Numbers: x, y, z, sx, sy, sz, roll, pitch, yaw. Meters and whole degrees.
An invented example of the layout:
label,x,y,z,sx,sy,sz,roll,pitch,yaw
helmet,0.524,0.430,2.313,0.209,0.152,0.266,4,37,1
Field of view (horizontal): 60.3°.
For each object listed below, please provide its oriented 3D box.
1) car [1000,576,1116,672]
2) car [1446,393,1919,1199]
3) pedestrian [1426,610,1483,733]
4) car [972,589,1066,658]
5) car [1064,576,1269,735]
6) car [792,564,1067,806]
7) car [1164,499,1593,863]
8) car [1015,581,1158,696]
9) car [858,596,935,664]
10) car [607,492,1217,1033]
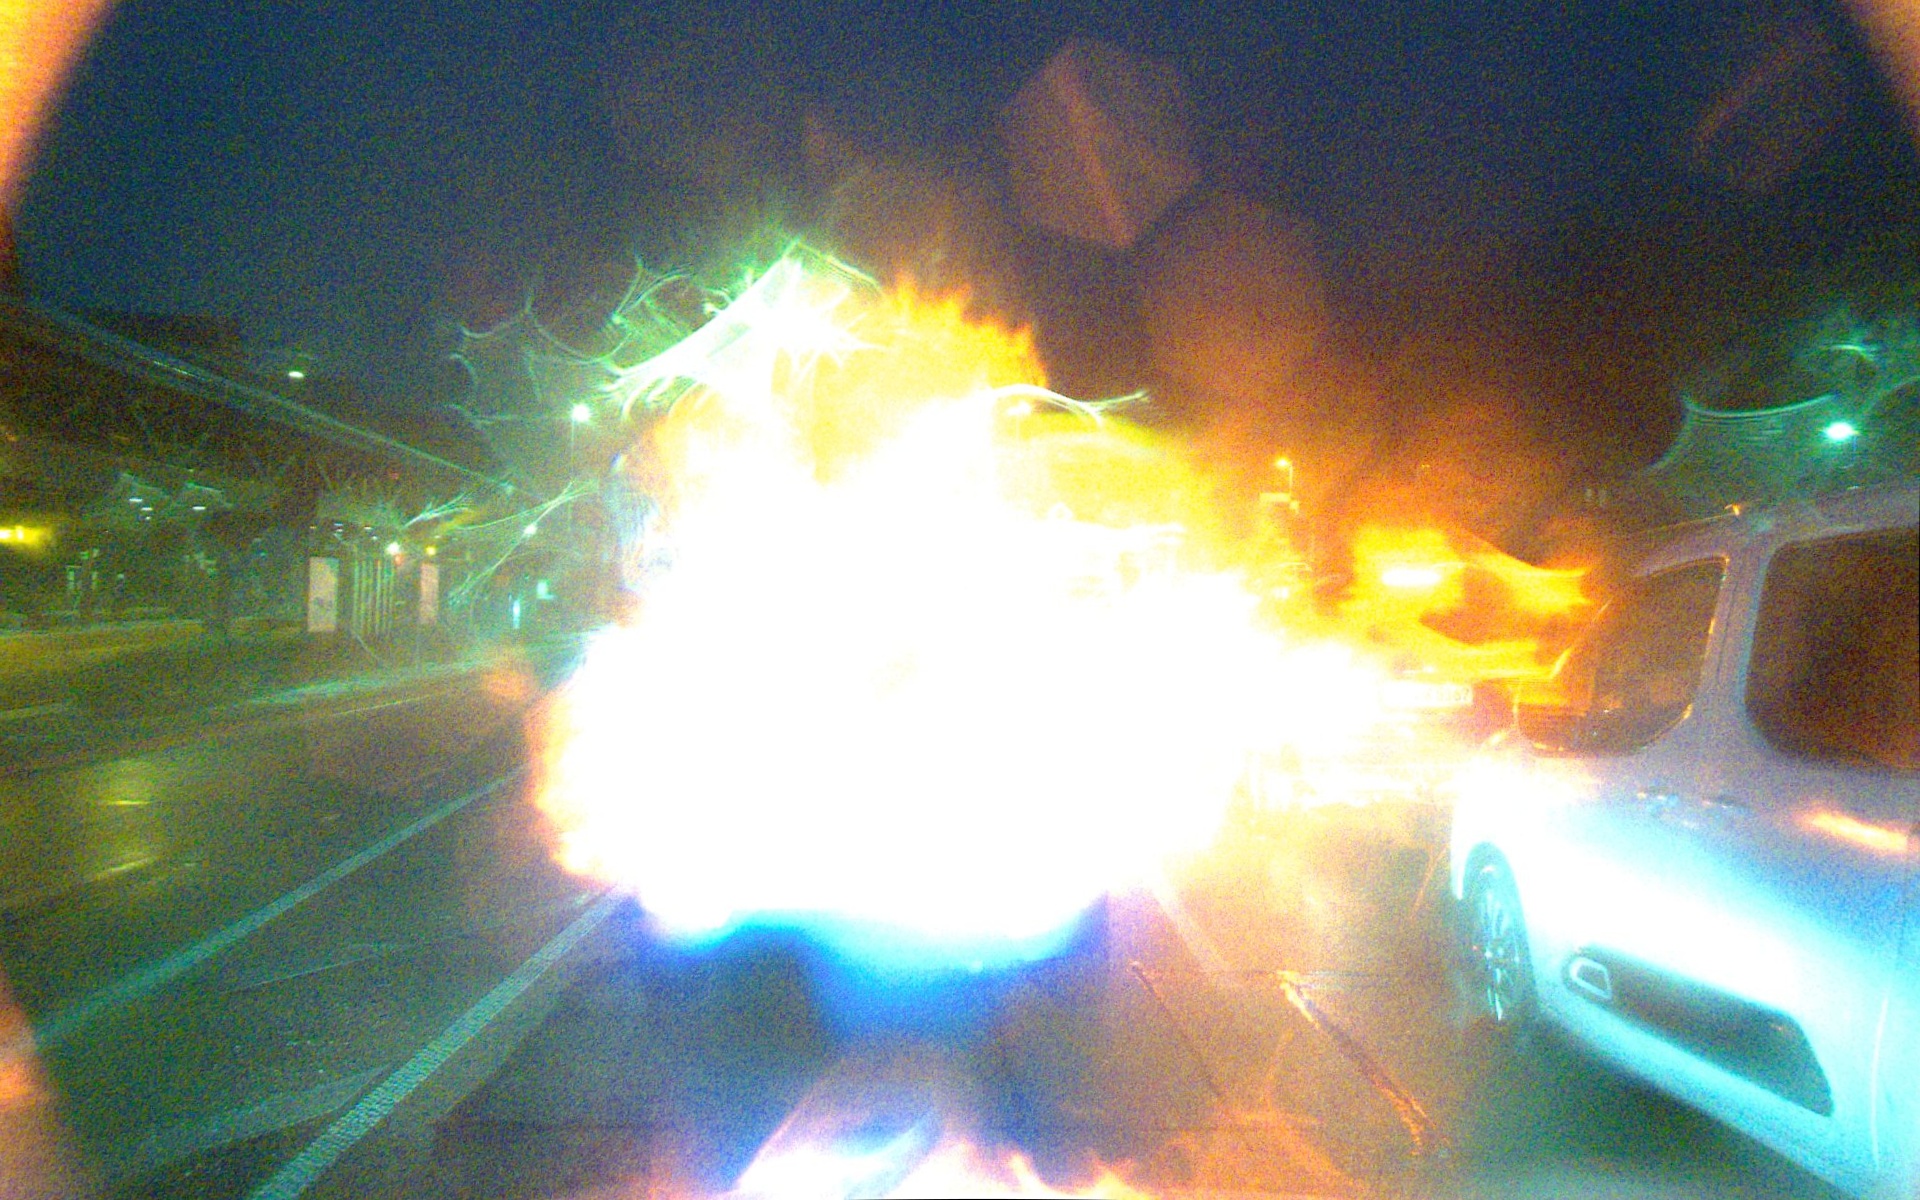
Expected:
label,x,y,z,sx,sy,sz,roll,pitch,yaw
car,1.924,0.465,33.536,1.953,1.804,3.998,1,0,-2
car,2.773,0.560,4.047,1.814,1.897,4.339,1,0,-1
pedestrian,7.051,1.012,23.597,0.610,1.731,0.540,1,-1,-3
car,1.394,0.546,40.441,1.821,1.571,3.926,1,0,-5
car,2.438,0.627,20.502,1.953,1.748,3.999,1,0,-1
car,-0.246,0.621,13.932,1.953,1.713,3.999,1,0,-1
car,2.688,0.483,11.622,1.929,2.082,3.999,1,0,-1
car,1.984,0.596,26.993,1.953,1.699,3.999,1,0,-1
car,-1.869,0.834,47.733,1.955,1.856,3.995,1,0,-6
car,-0.240,0.549,7.658,1.974,1.747,4.449,1,0,-3
